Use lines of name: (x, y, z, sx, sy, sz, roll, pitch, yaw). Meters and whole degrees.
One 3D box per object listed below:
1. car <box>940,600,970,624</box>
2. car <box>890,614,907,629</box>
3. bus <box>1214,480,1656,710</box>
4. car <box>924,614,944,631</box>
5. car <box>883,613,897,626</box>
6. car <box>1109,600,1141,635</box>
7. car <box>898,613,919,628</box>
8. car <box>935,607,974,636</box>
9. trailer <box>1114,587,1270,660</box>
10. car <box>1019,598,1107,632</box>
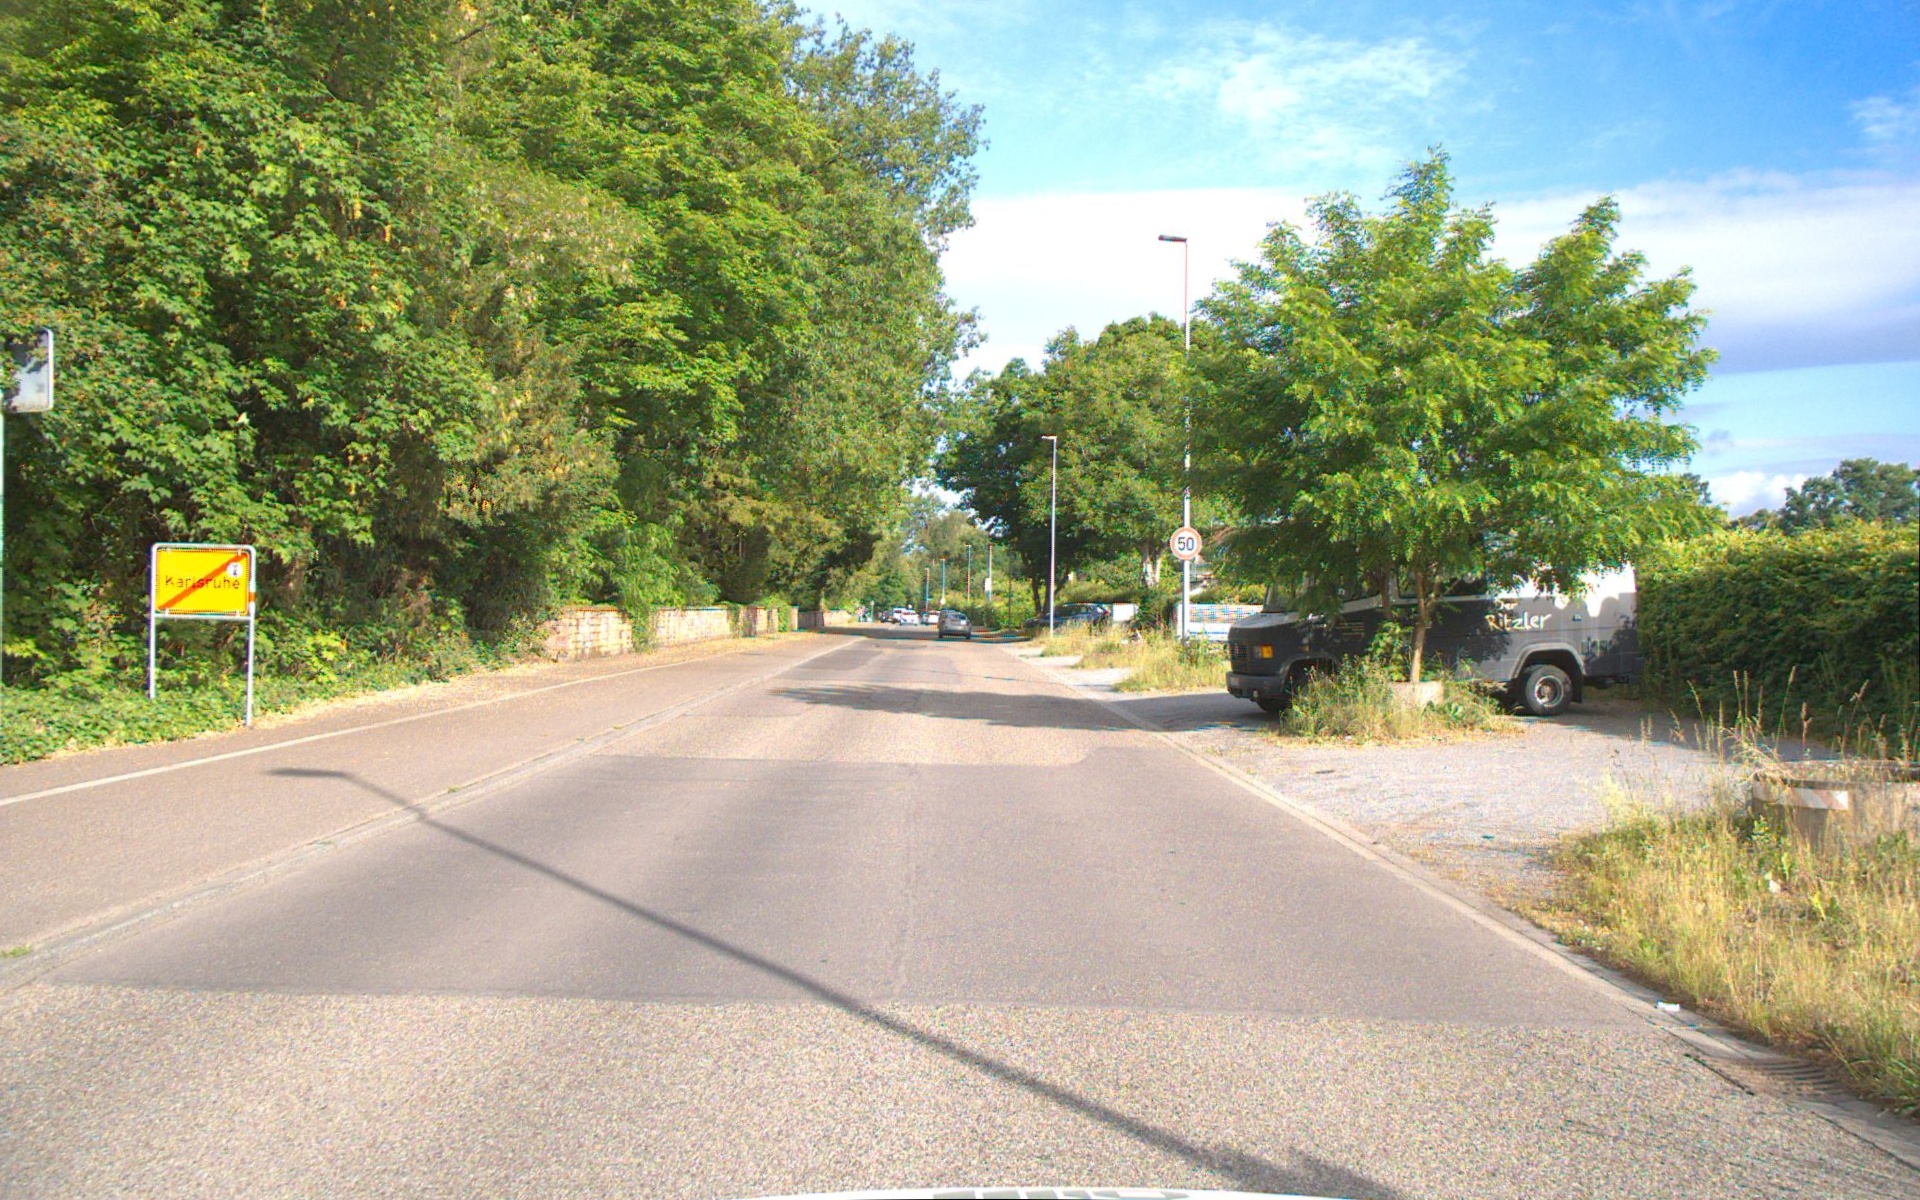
car: (-0.361, 0.866, 113.589, 1.849, 1.490, 4.052, 3, -2, -2)
car: (-7.272, 2.565, 195.004, 1.849, 1.641, 4.052, 3, -2, -2)
bus: (6.227, -0.033, 22.063, 5.259, 2.795, 2.066, 1, -1, -4)
car: (-2.695, 2.284, 169.037, 1.849, 1.641, 4.052, 3, -2, -2)
car: (-9.471, 2.662, 223.736, 1.849, 1.641, 4.052, 3, -2, -2)
car: (8.179, 0.871, 81.803, 1.322, 1.661, 4.114, 0, -1, 9)
car: (-5.173, 2.051, 165.505, 1.849, 1.396, 4.051, 3, -2, -3)
car: (-0.313, 1.149, 87.616, 1.849, 1.396, 4.052, 3, -2, -2)
trailer: (6.324, 0.663, 45.418, 4.065, 1.867, 1.917, 1, -2, 3)
car: (5.211, 0.769, 83.757, 4.313, 1.676, 1.999, 0, -2, -1)
